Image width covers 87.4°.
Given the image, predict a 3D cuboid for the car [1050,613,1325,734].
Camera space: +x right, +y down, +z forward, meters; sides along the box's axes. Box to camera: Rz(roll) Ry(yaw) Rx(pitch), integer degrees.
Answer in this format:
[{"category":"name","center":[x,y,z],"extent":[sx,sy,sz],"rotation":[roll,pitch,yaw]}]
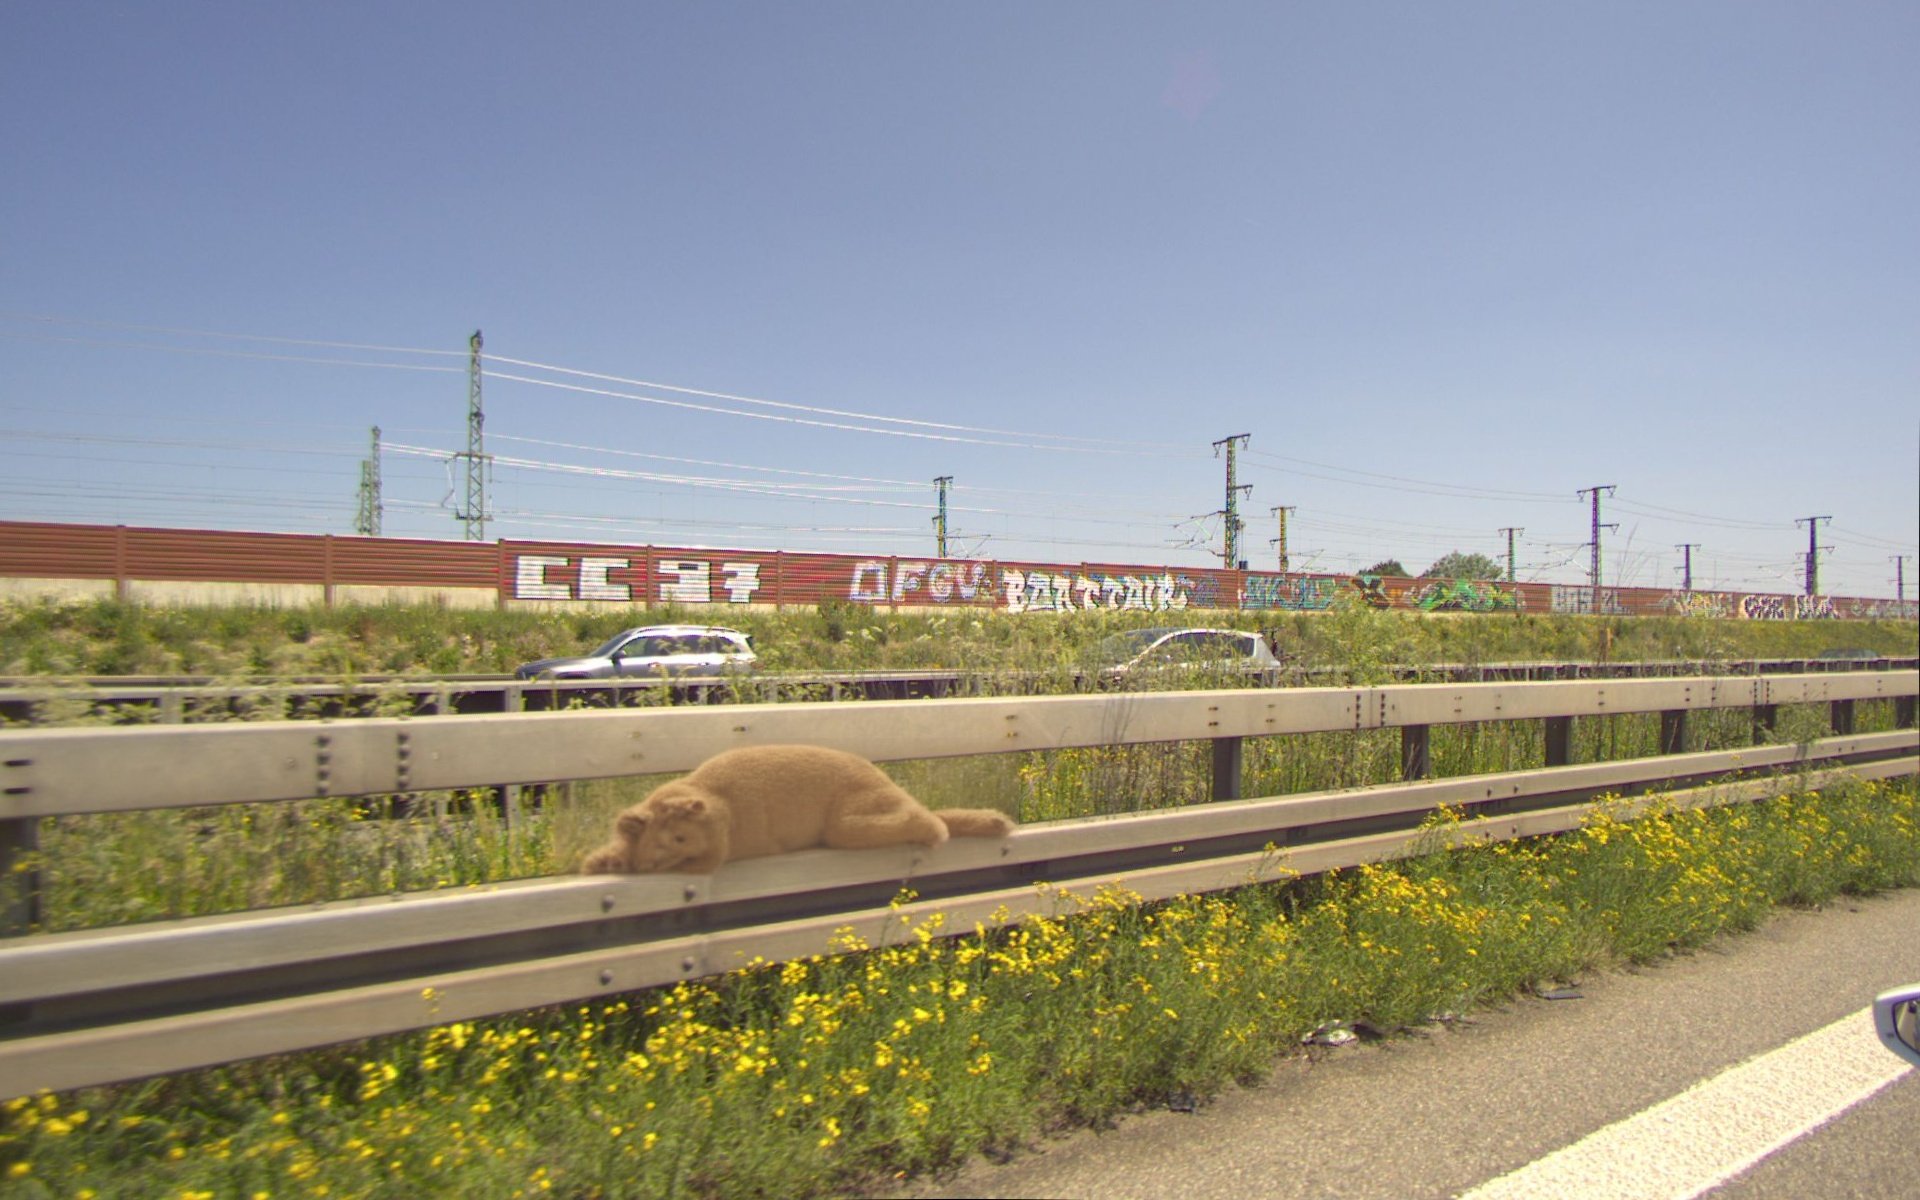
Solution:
[{"category":"car","center":[3.721,1.119,16.295],"extent":[4.139,1.718,1.984],"rotation":[1,-2,-30]}]

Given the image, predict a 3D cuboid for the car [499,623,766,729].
[{"category":"car","center":[-6.113,1.346,18.875],"extent":[4.460,1.749,1.984],"rotation":[1,0,-30]}]

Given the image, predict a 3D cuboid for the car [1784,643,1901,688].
[{"category":"car","center":[31.330,2.311,35.636],"extent":[3.885,1.506,1.984],"rotation":[2,-3,-30]}]
